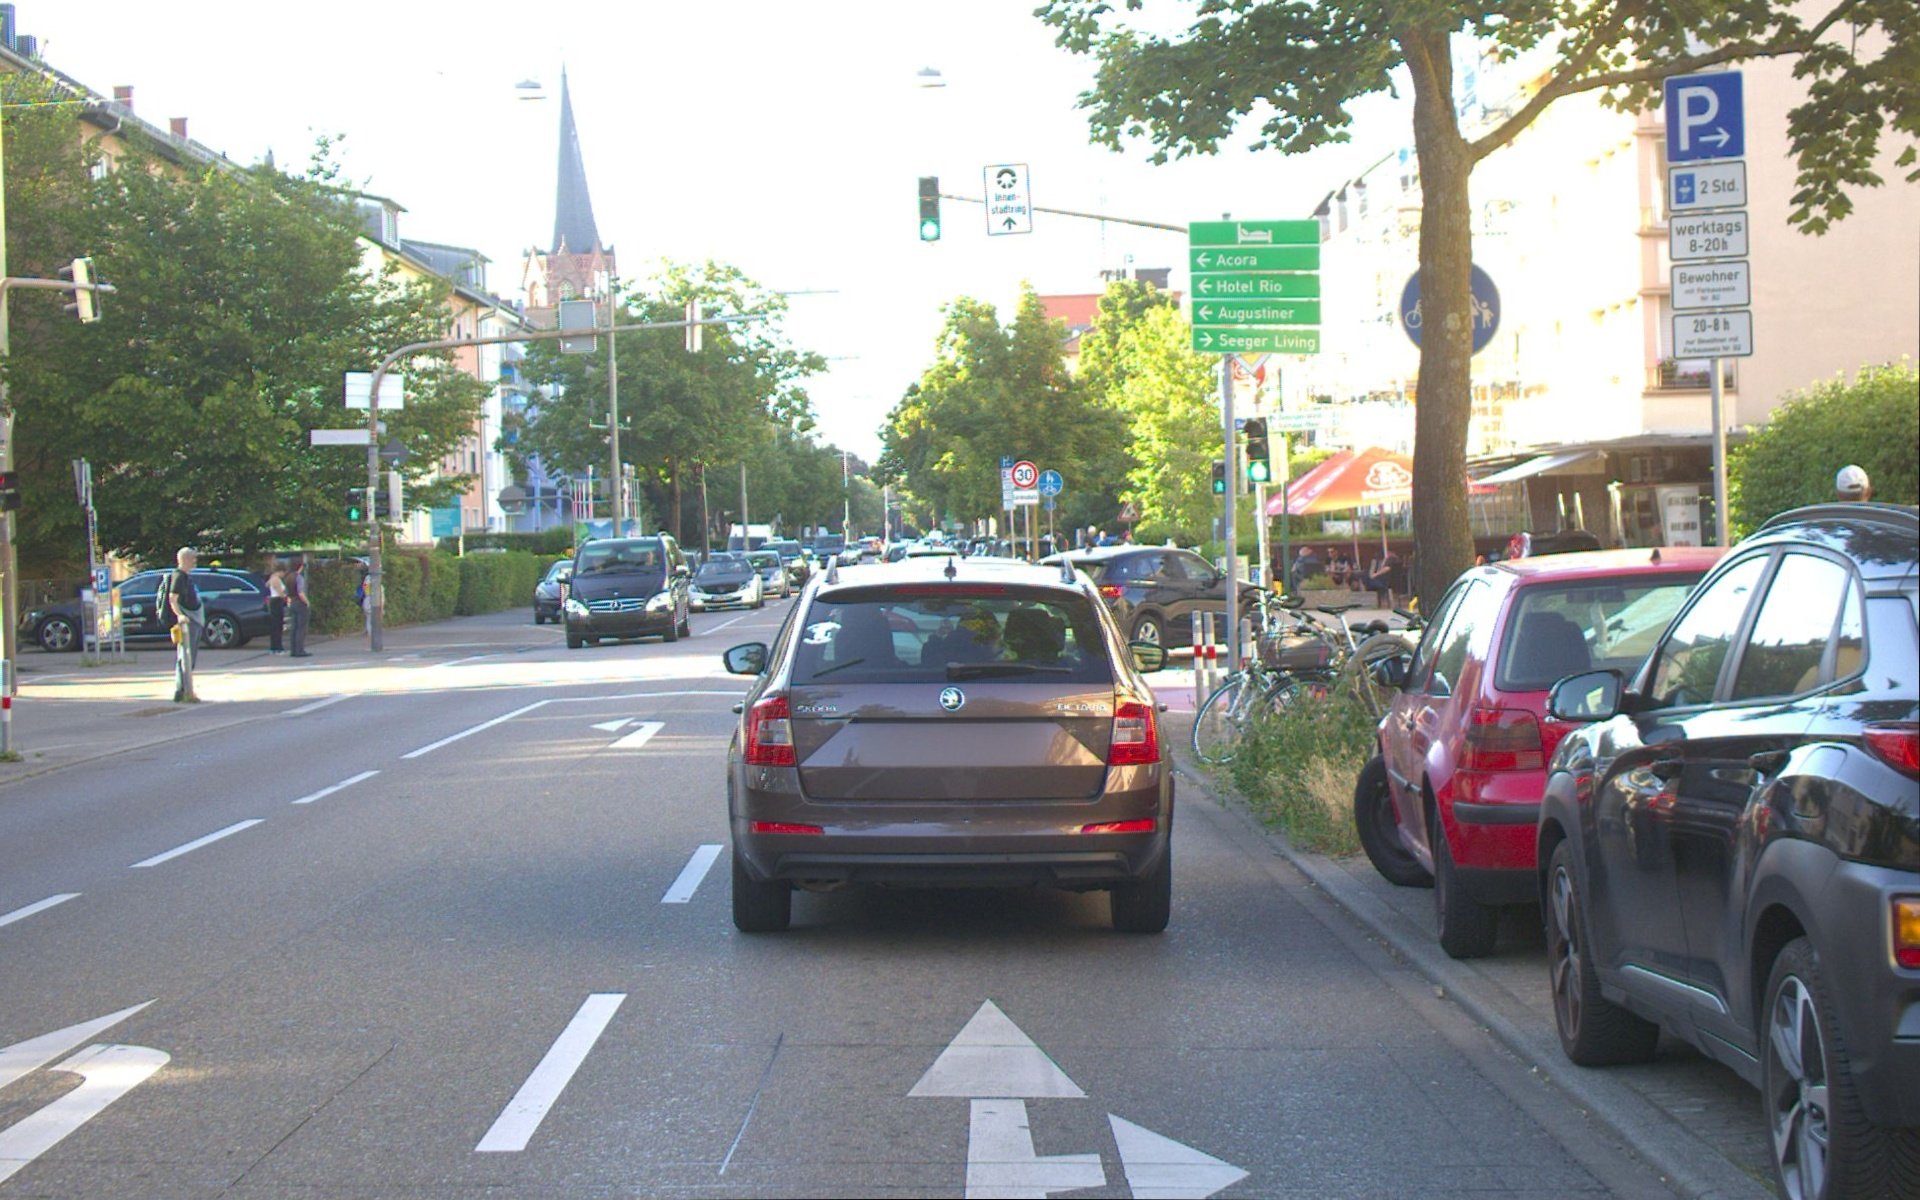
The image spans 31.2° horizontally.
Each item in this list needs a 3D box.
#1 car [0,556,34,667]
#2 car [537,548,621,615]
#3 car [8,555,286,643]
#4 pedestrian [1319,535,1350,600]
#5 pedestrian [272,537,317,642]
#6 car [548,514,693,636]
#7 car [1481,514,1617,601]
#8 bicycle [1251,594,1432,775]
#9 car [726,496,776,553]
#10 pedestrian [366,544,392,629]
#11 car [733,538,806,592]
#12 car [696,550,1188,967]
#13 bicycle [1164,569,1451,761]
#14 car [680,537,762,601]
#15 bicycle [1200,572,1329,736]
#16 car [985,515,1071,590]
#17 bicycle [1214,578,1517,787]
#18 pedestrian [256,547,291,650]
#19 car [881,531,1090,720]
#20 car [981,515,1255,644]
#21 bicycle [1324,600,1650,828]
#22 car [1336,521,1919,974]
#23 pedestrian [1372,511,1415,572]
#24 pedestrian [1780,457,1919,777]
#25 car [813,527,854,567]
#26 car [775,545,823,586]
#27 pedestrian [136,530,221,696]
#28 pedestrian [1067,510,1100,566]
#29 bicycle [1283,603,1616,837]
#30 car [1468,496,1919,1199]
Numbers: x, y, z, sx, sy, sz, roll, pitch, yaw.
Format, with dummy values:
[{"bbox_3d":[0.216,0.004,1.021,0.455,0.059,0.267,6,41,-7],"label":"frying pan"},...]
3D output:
[{"bbox_3d":[-17.916,0.240,56.879,4.634,1.805,1.862,-2,1,-1],"label":"car"},{"bbox_3d":[-8.731,-0.439,78.946,1.522,1.452,3.585,-2,1,-1],"label":"car"},{"bbox_3d":[-14.838,-0.026,62.887,4.634,1.530,1.862,-1,1,-1],"label":"car"},{"bbox_3d":[7.505,-0.656,68.966,0.499,1.298,0.507,-2,1,-3],"label":"pedestrian"},{"bbox_3d":[-11.595,-0.183,59.898,0.616,1.791,0.504,-2,1,0],"label":"pedestrian"},{"bbox_3d":[-5.825,-0.461,59.585,1.993,1.902,4.964,-4,1,-1],"label":"car"},{"bbox_3d":[10.747,-0.788,63.011,1.776,1.481,4.000,-2,1,0],"label":"car"},{"bbox_3d":[2.414,0.514,21.592,0.619,1.048,1.571,-1,1,26],"label":"bicycle"},{"bbox_3d":[-9.435,-3.392,155.521,1.993,2.469,4.000,-2,1,-1],"label":"car"},{"bbox_3d":[-10.332,-0.239,61.127,0.301,1.499,0.640,-2,1,0],"label":"pedestrian"},{"bbox_3d":[-5.931,-1.115,107.299,1.993,1.605,4.000,-2,1,0],"label":"car"},{"bbox_3d":[-0.107,0.546,14.638,1.773,1.484,4.311,0,1,-1],"label":"car"},{"bbox_3d":[2.351,0.434,23.313,1.835,1.153,0.683,-4,1,6],"label":"bicycle"},{"bbox_3d":[-6.161,-0.816,89.092,1.830,1.574,4.000,-2,1,0],"label":"car"},{"bbox_3d":[2.255,0.385,25.653,0.501,1.143,1.959,-4,1,-6],"label":"bicycle"},{"bbox_3d":[1.672,-1.153,83.439,1.993,1.766,4.000,0,1,2],"label":"car"},{"bbox_3d":[2.394,0.485,20.354,1.687,1.103,0.517,-4,1,6],"label":"bicycle"},{"bbox_3d":[-12.043,-0.035,60.297,0.449,1.791,0.504,-2,1,0],"label":"pedestrian"},{"bbox_3d":[0.215,0.181,30.651,1.737,1.565,4.000,0,1,0],"label":"car"},{"bbox_3d":[2.130,-0.294,45.203,1.803,1.546,3.993,-1,1,33],"label":"car"},{"bbox_3d":[2.689,0.577,17.632,1.570,1.100,0.501,-2,1,1],"label":"bicycle"},{"bbox_3d":[2.552,0.463,13.652,1.703,1.445,4.013,-3,1,2],"label":"car"},{"bbox_3d":[8.589,-1.161,68.116,0.729,1.194,0.855,-2,1,0],"label":"pedestrian"},{"bbox_3d":[5.073,0.089,19.431,0.663,1.743,0.772,-3,1,6],"label":"pedestrian"},{"bbox_3d":[-6.726,-2.834,183.327,1.993,2.007,4.000,-2,1,0],"label":"car"},{"bbox_3d":[-6.410,-1.391,137.259,1.704,1.545,4.002,-2,1,0],"label":"car"},{"bbox_3d":[-9.580,0.151,42.153,0.780,1.981,0.821,-2,1,0],"label":"pedestrian"},{"bbox_3d":[3.768,-1.898,105.003,0.675,1.698,0.800,-1,1,26],"label":"pedestrian"},{"bbox_3d":[2.422,0.591,17.080,1.570,1.100,0.392,-2,1,1],"label":"bicycle"},{"bbox_3d":[2.544,0.531,8.412,1.855,1.576,4.014,-3,1,-1],"label":"car"}]
